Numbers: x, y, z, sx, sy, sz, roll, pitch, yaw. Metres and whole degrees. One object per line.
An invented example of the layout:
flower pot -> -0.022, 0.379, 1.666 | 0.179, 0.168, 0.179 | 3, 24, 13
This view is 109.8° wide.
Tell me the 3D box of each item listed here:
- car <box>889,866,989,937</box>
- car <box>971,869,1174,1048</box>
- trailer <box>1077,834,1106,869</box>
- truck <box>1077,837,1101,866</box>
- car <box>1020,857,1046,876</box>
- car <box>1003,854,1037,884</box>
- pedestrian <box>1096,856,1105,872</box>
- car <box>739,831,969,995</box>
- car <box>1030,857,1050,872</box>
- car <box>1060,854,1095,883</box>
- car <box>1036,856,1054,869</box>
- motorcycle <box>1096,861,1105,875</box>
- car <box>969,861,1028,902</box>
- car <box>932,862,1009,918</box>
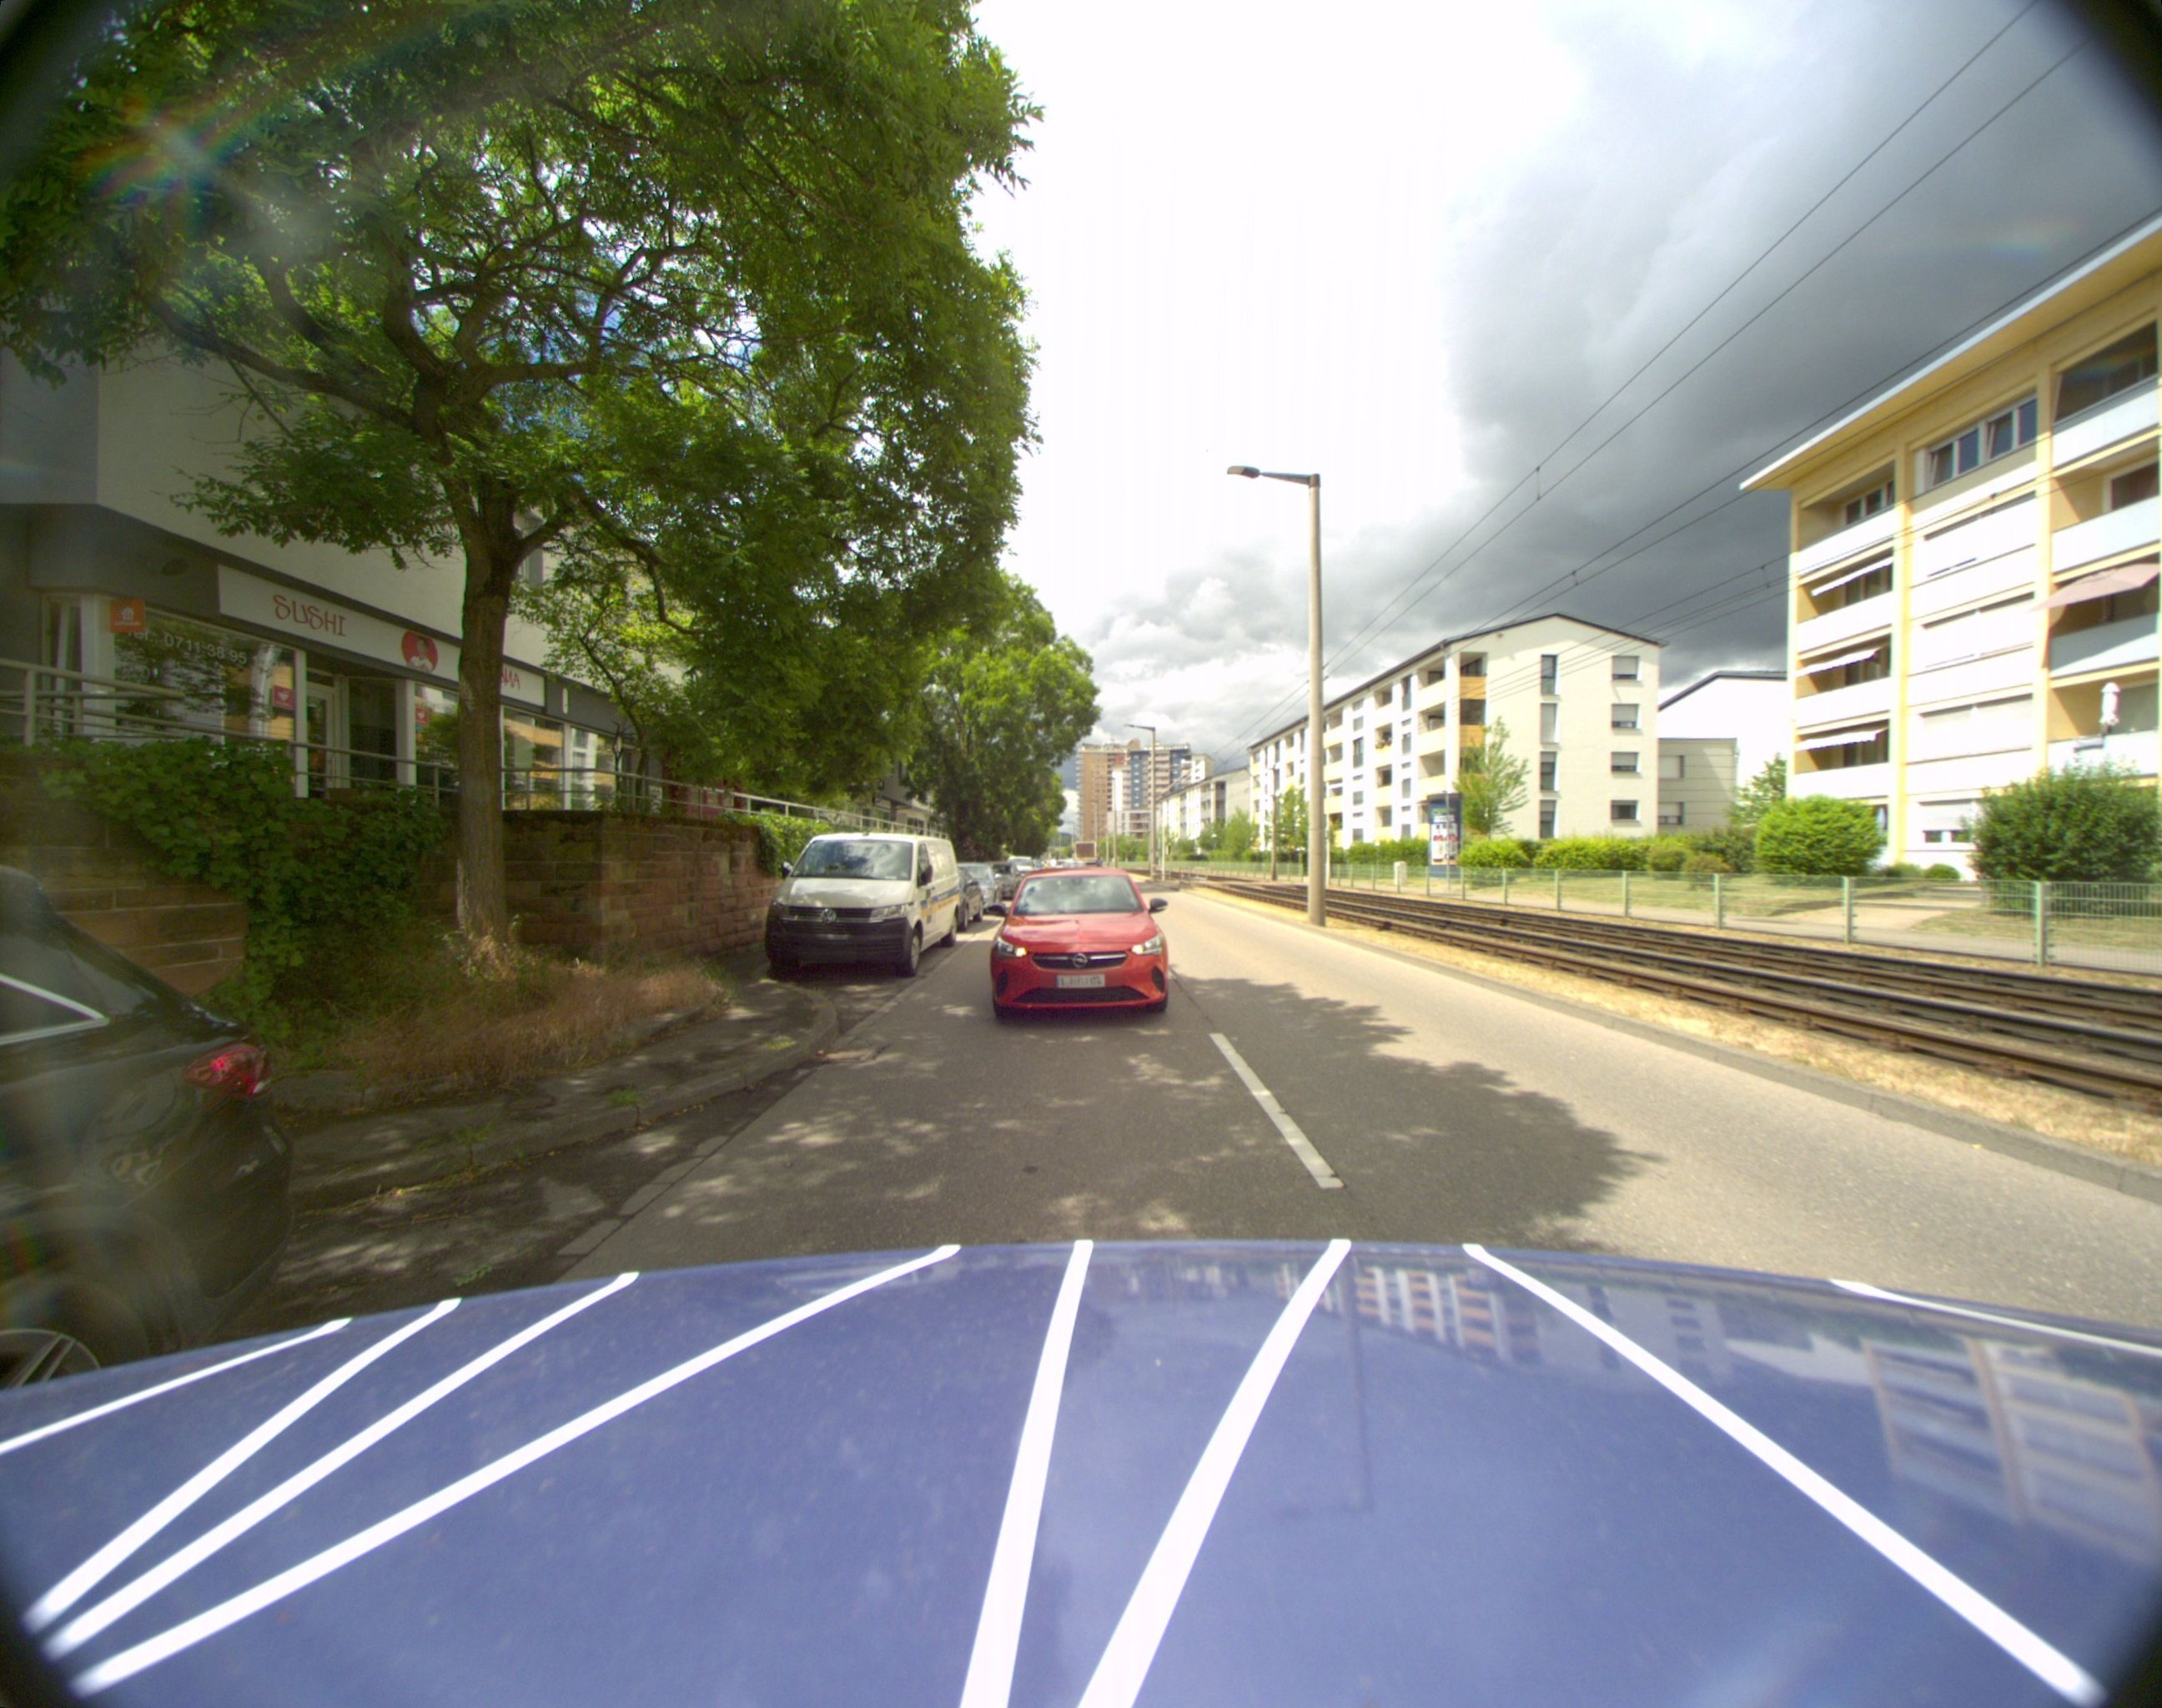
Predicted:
car -> -3.174, 1.017, 17.670 | 1.578, 1.420, 3.734 | -1, 0, 0
car -> -0.032, 0.951, 8.610 | 1.723, 1.434, 4.000 | -2, 0, 1
trailer -> 1.023, -0.274, 86.452 | 2.875, 3.428, 14.614 | -2, 0, 0
truck -> 0.959, -0.293, 95.125 | 2.852, 3.428, 4.415 | -2, 0, -1
car -> -3.895, 0.987, 61.876 | 1.784, 1.420, 4.147 | -1, 0, 0
car -> -3.556, 0.857, 45.006 | 1.819, 1.643, 4.146 | -1, 0, -2
pedestrian -> 1.787, 0.906, 70.211 | 0.737, 1.408, 0.927 | -2, 1, -1
car -> -3.104, 0.716, 11.678 | 1.978, 1.958, 5.013 | -1, 0, 0
car -> -4.236, 1.051, 78.861 | 1.784, 1.420, 4.147 | -1, 0, 0
car -> -0.242, 0.845, 45.925 | 1.927, 1.543, 3.999 | -2, 0, -2
car -> -4.050, 0.935, 85.981 | 1.784, 1.420, 4.147 | -1, 0, 0
motorcycle -> 1.806, 1.270, 70.202 | 0.783, 1.181, 1.869 | -1, 0, -1
car -> -3.121, 1.025, 29.572 | 1.784, 1.420, 4.147 | -1, 0, 0
car -> -3.207, 1.011, 22.759 | 1.785, 1.420, 4.144 | 2, 0, -2
